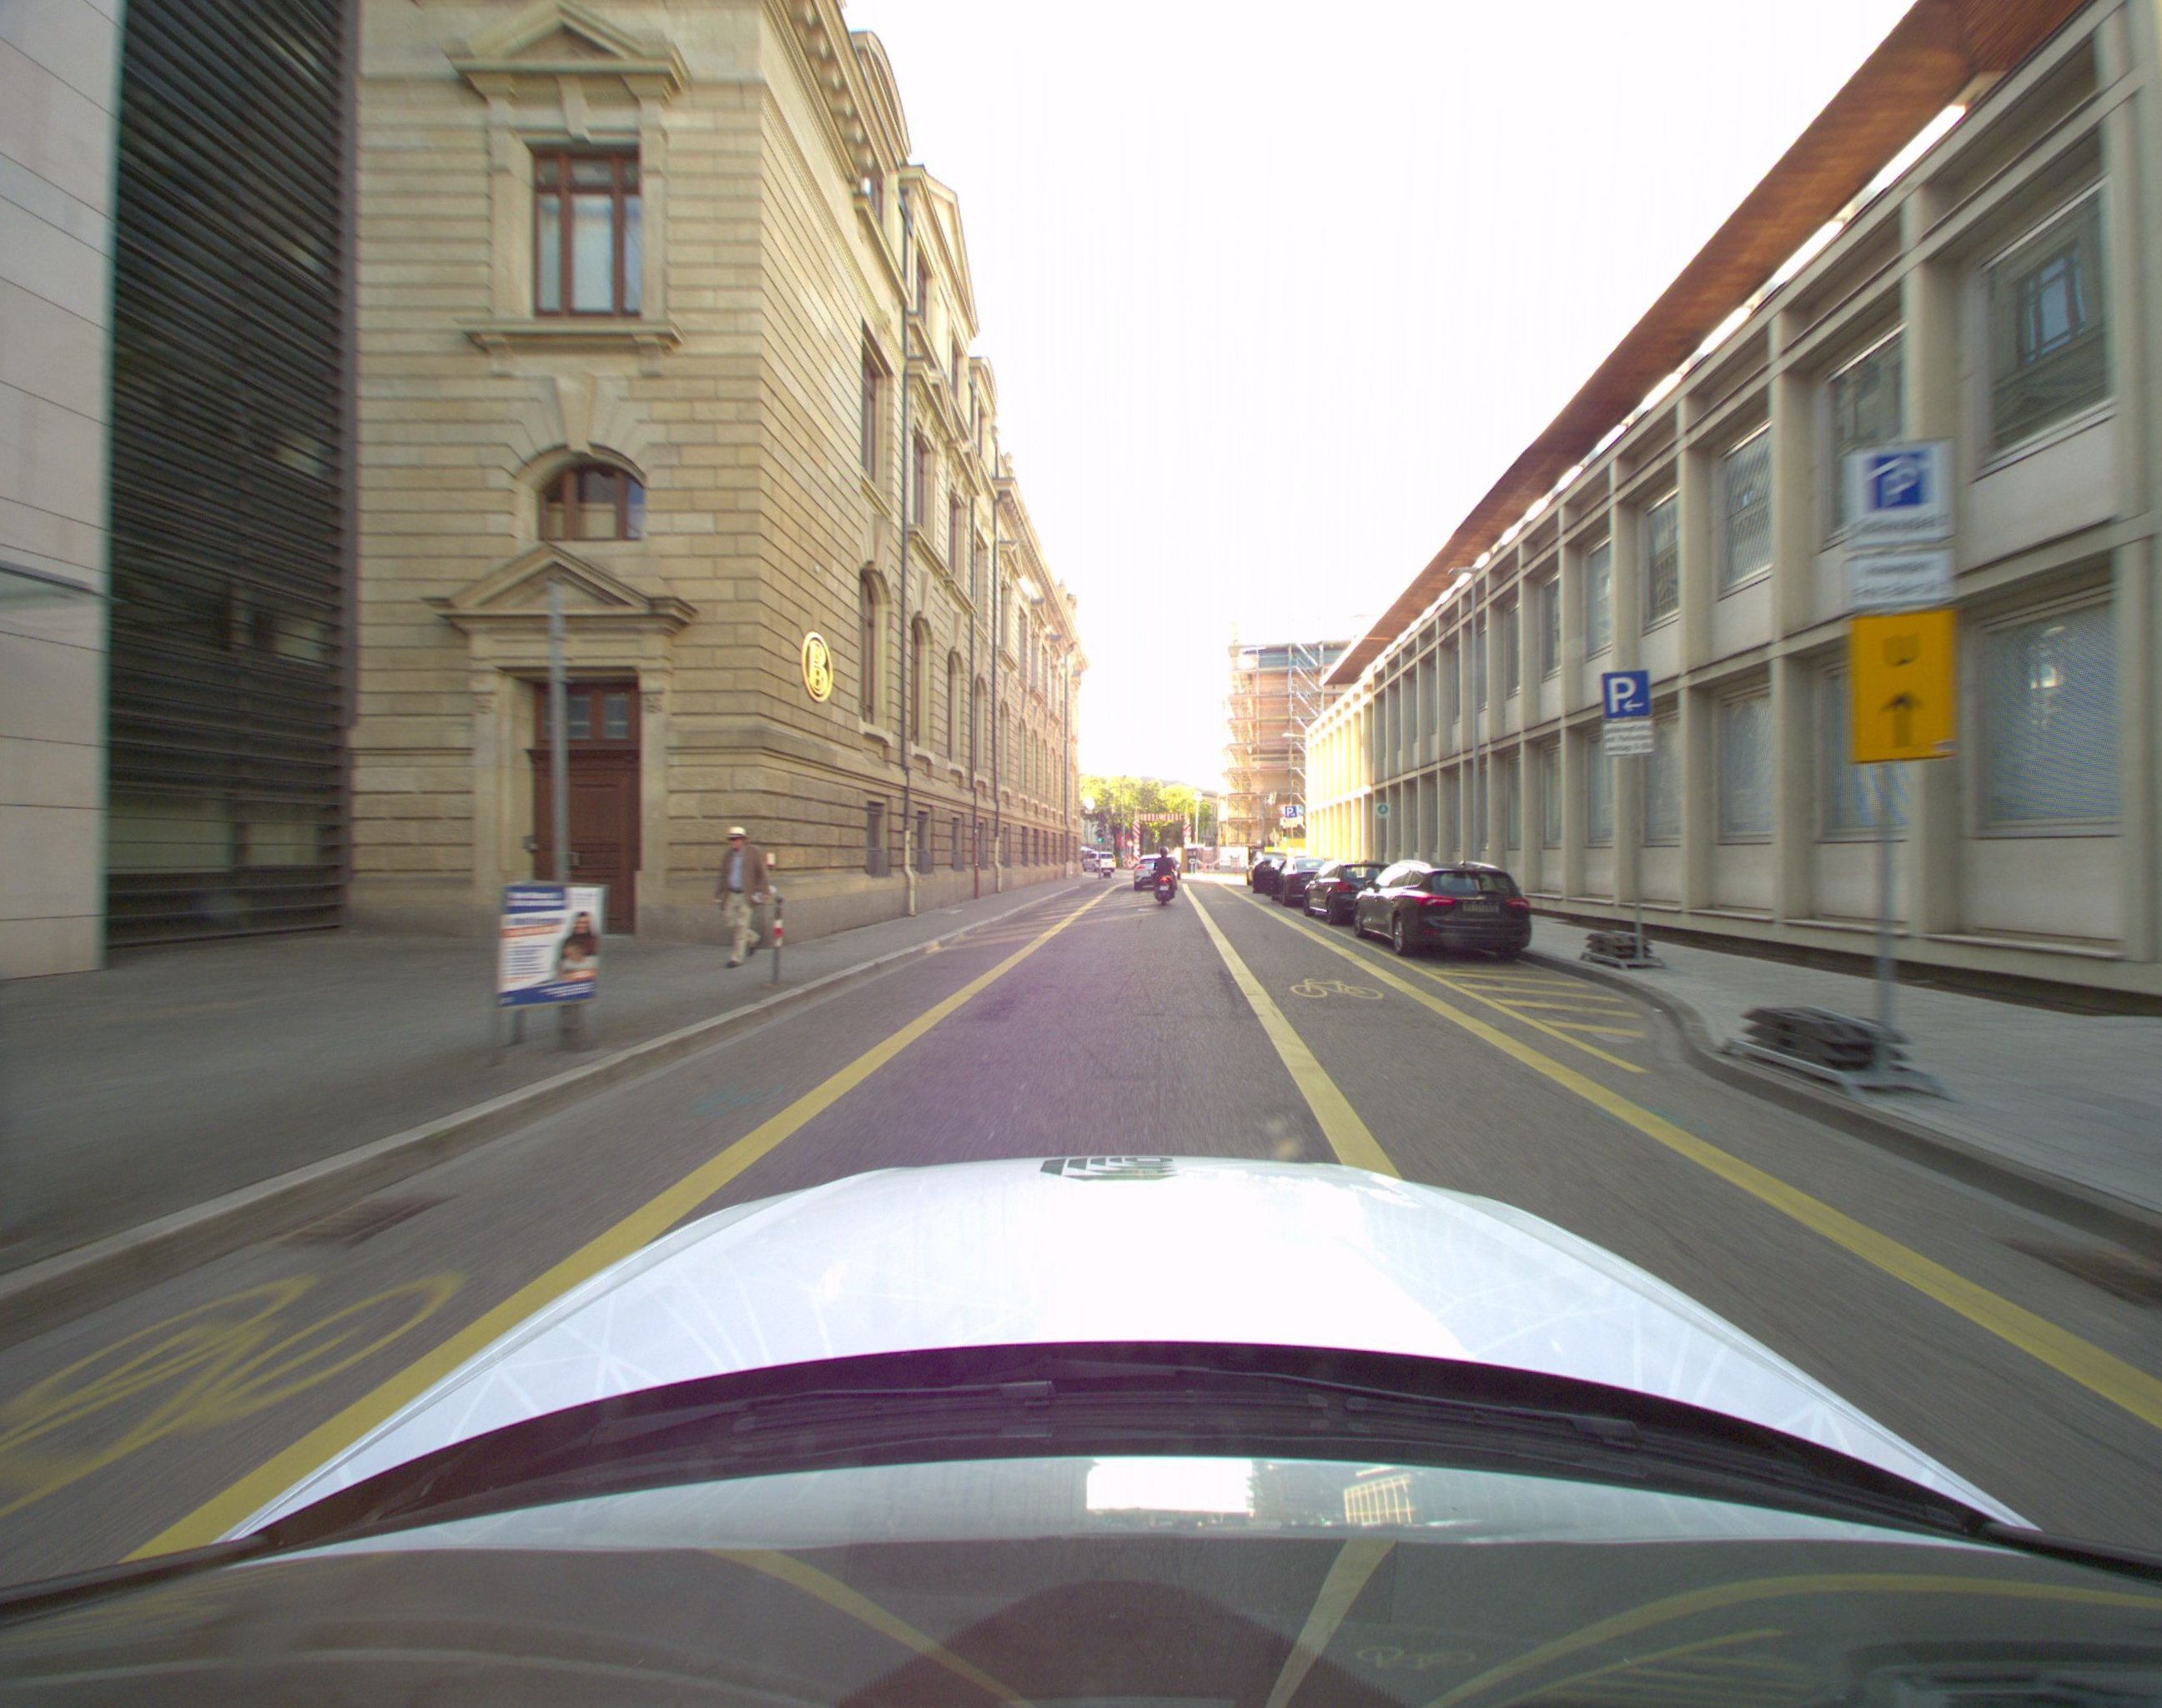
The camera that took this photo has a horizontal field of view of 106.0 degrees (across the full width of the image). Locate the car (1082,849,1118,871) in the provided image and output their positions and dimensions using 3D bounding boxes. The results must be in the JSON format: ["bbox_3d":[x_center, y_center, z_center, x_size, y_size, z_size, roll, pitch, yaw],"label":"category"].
[{"bbox_3d":[1.585,0.503,69.962,1.996,1.664,4.339,-3,2,-13],"label":"car"}]

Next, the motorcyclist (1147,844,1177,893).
[{"bbox_3d":[2.393,0.430,24.027,0.862,1.427,0.456,-1,-1,6],"label":"motorcyclist"}]

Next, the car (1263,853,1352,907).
[{"bbox_3d":[6.901,0.751,25.263,1.816,1.501,4.743,1,0,5],"label":"car"}]

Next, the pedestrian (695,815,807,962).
[{"bbox_3d":[-4.329,0.435,10.766,0.836,1.800,1.076,3,-1,8],"label":"pedestrian"}]

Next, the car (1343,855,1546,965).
[{"bbox_3d":[5.789,0.787,13.571,1.774,1.479,4.295,1,0,5],"label":"car"}]

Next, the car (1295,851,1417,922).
[{"bbox_3d":[6.394,0.731,19.397,1.772,1.479,4.294,-1,-1,5],"label":"car"}]

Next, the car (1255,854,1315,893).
[{"bbox_3d":[7.881,0.739,31.791,1.814,1.399,4.489,1,-1,8],"label":"car"}]

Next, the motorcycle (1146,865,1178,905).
[{"bbox_3d":[2.391,0.890,23.884,0.868,1.109,1.843,-1,-1,8],"label":"motorcycle"}]

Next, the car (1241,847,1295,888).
[{"bbox_3d":[8.637,0.572,37.994,1.816,1.699,4.674,1,1,5],"label":"car"}]

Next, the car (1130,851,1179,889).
[{"bbox_3d":[3.257,0.675,35.532,1.811,1.541,4.274,0,0,9],"label":"car"}]
